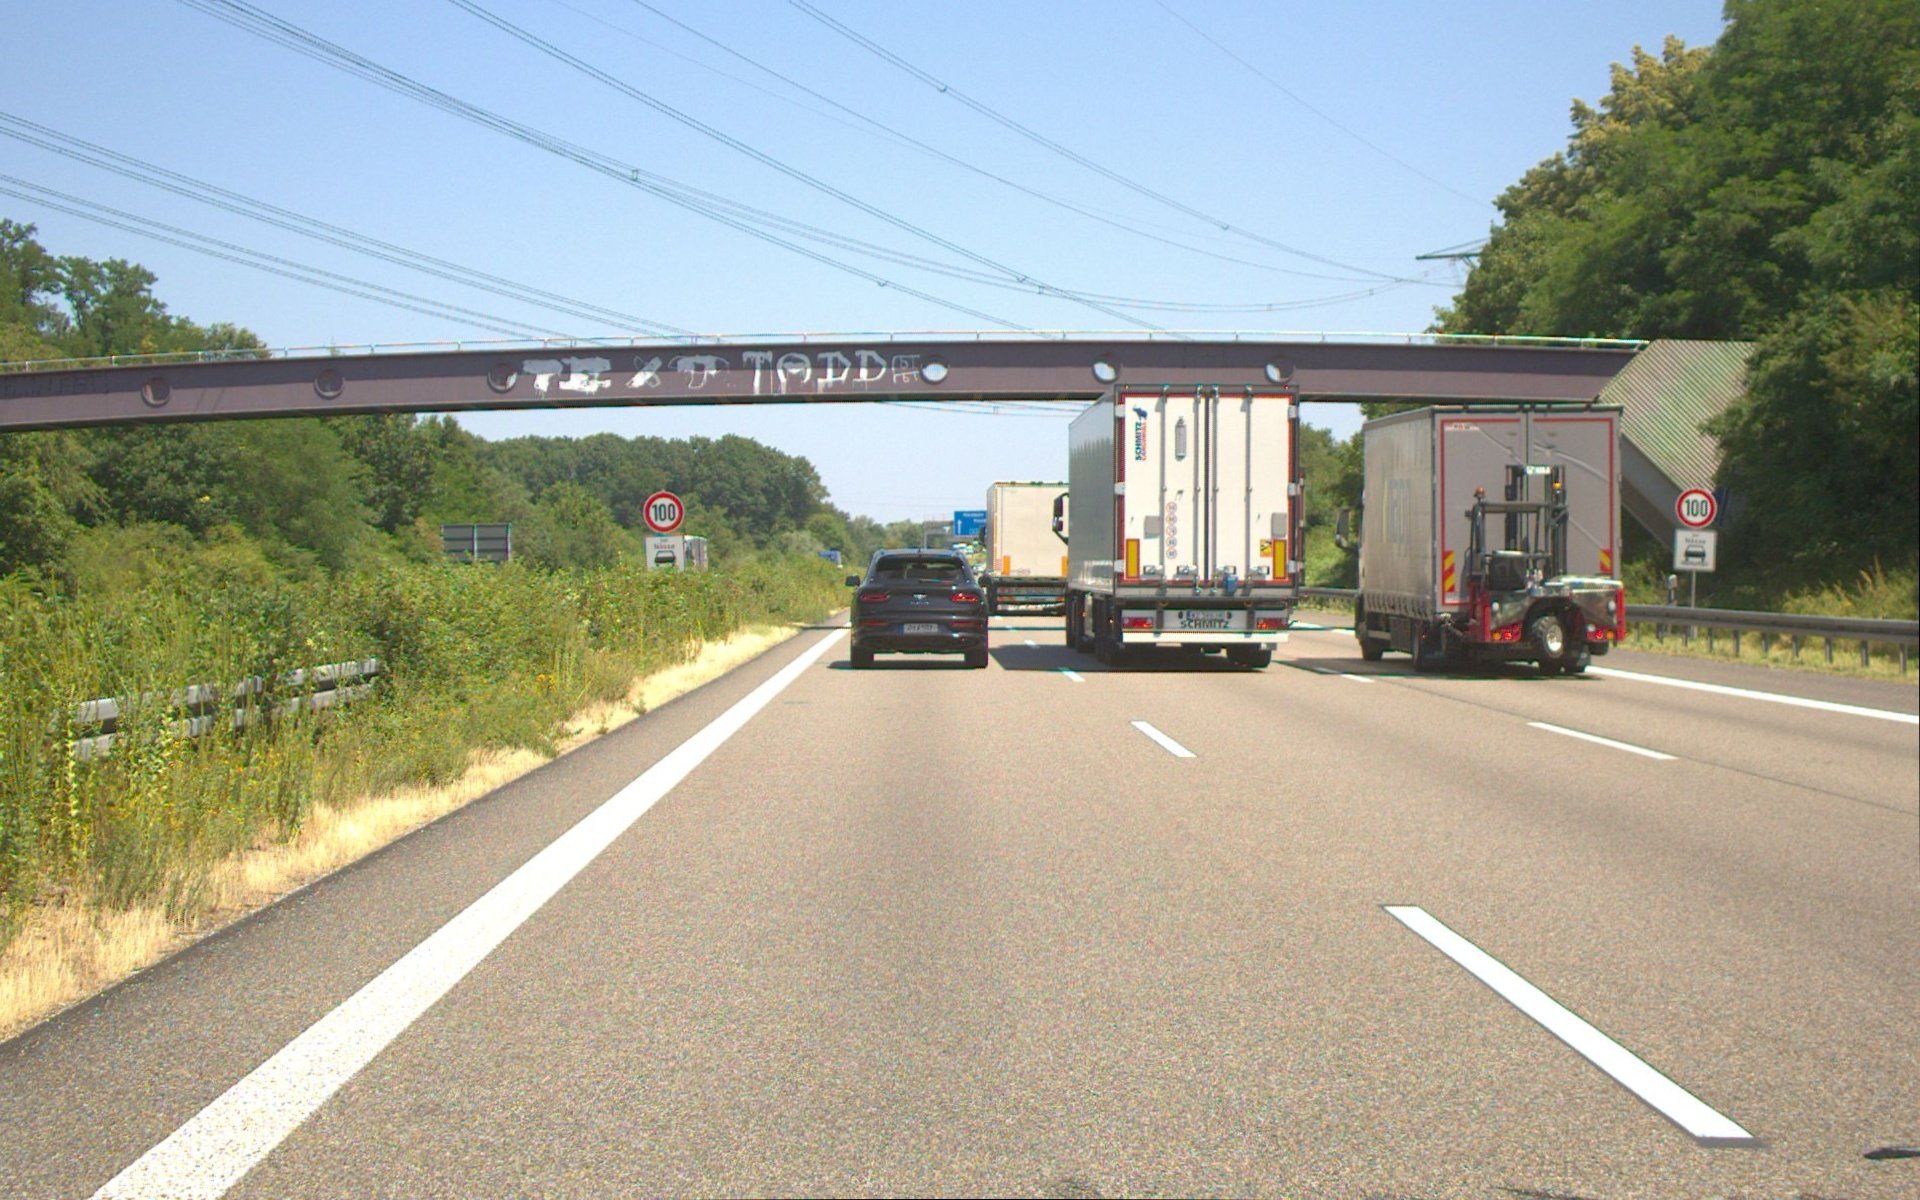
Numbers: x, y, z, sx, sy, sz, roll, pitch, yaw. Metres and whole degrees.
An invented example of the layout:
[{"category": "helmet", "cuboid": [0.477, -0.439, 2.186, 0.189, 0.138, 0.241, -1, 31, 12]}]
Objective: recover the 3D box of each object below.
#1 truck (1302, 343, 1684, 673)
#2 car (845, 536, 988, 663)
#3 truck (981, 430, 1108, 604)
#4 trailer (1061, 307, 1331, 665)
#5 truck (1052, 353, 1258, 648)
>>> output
[{"category": "truck", "cuboid": [7.514, -1.247, 50.558, 3.571, 4.230, 11.652, 1, 0, -1]}, {"category": "car", "cuboid": [-0.686, -0.038, 50.466, 1.993, 1.766, 4.000, -1, 1, -2]}, {"category": "truck", "cuboid": [2.543, -2.549, 107.484, 3.512, 5.149, 10.259, 0, 1, -1]}, {"category": "trailer", "cuboid": [3.434, -1.626, 53.488, 3.087, 4.868, 12.258, 1, 0, -1]}, {"category": "truck", "cuboid": [3.341, -1.689, 60.675, 3.087, 4.868, 6.598, 1, 0, -1]}]
